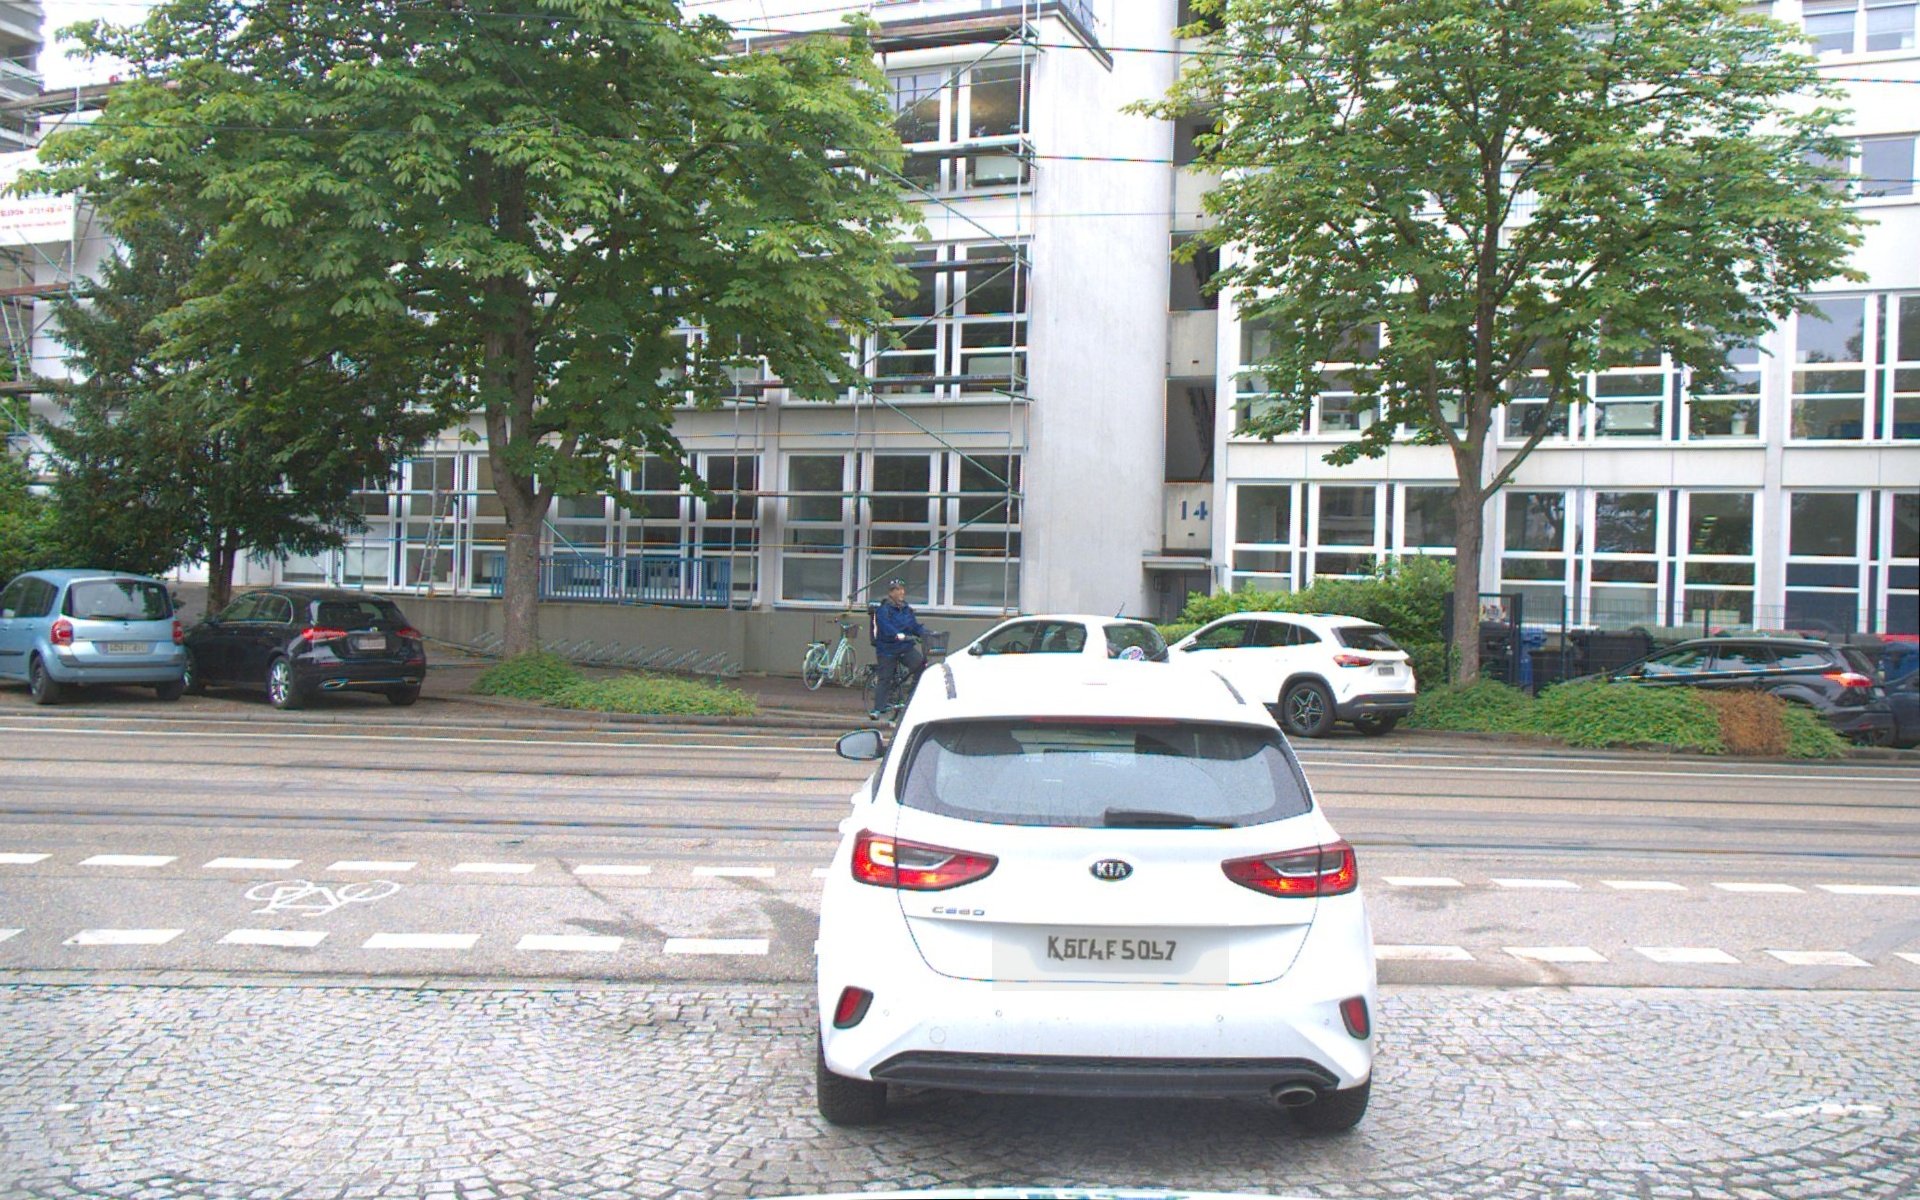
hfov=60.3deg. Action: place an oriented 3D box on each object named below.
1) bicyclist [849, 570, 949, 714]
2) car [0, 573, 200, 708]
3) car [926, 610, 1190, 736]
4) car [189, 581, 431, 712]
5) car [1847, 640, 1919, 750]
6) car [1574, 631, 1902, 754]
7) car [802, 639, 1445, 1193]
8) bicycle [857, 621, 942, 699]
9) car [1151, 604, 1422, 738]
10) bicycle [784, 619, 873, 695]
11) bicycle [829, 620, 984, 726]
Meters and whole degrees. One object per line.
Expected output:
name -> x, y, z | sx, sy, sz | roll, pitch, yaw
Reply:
bicyclist -> -0.754, 0.507, 20.483 | 0.882, 1.727, 0.828 | 1, -1, 44
car -> -11.191, 0.468, 21.067 | 3.279, 1.564, 1.608 | 1, 0, 43
car -> 1.250, 0.915, 22.006 | 1.545, 1.499, 3.352 | 2, -1, -44
car -> -8.348, 0.546, 21.153 | 3.278, 1.537, 1.608 | 0, -1, 43
car -> 14.223, 1.334, 22.741 | 3.331, 1.499, 1.407 | 0, -1, 43
car -> 10.834, 1.225, 23.163 | 3.880, 1.499, 1.665 | 1, -1, 40
car -> 0.524, 0.903, 6.509 | 1.738, 1.458, 3.979 | 1, -1, 2
bicycle -> -0.992, 0.978, 27.723 | 0.631, 1.093, 2.313 | 1, 3, 19
car -> 4.385, 0.905, 22.497 | 1.545, 1.646, 3.352 | 2, -1, -44
bicycle -> -2.219, 0.941, 28.196 | 0.631, 1.093, 2.313 | 1, 3, 19
bicycle -> -0.672, 0.873, 20.384 | 1.883, 1.194, 0.816 | 1, 0, 44
